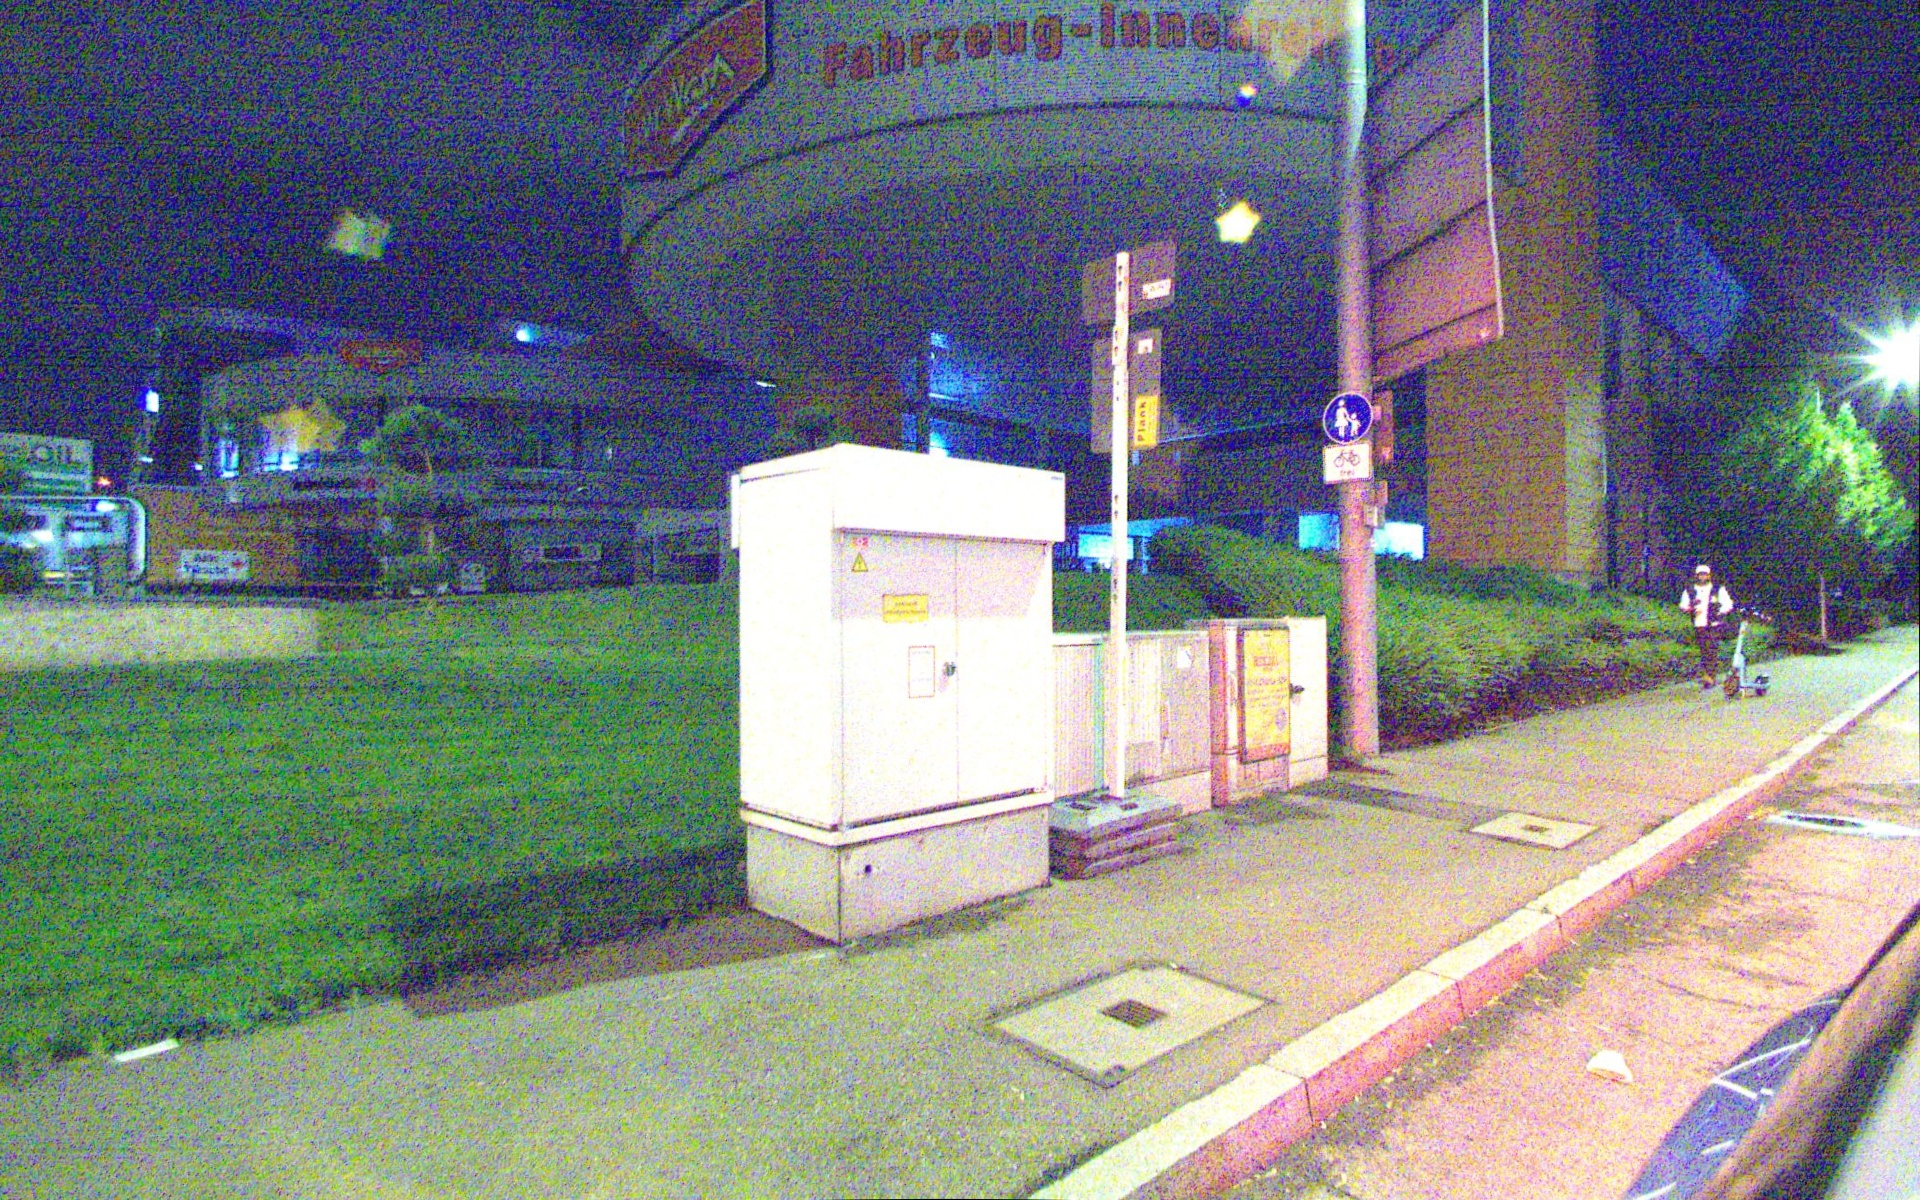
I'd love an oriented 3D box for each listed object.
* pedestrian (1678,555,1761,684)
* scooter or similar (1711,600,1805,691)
[{"bbox_3d":[11.628,0.274,15.490,1.016,1.888,0.819,0,0,-41],"label":"pedestrian"},{"bbox_3d":[11.030,0.622,13.989,1.111,1.217,0.470,1,-1,-17],"label":"scooter or similar"}]
